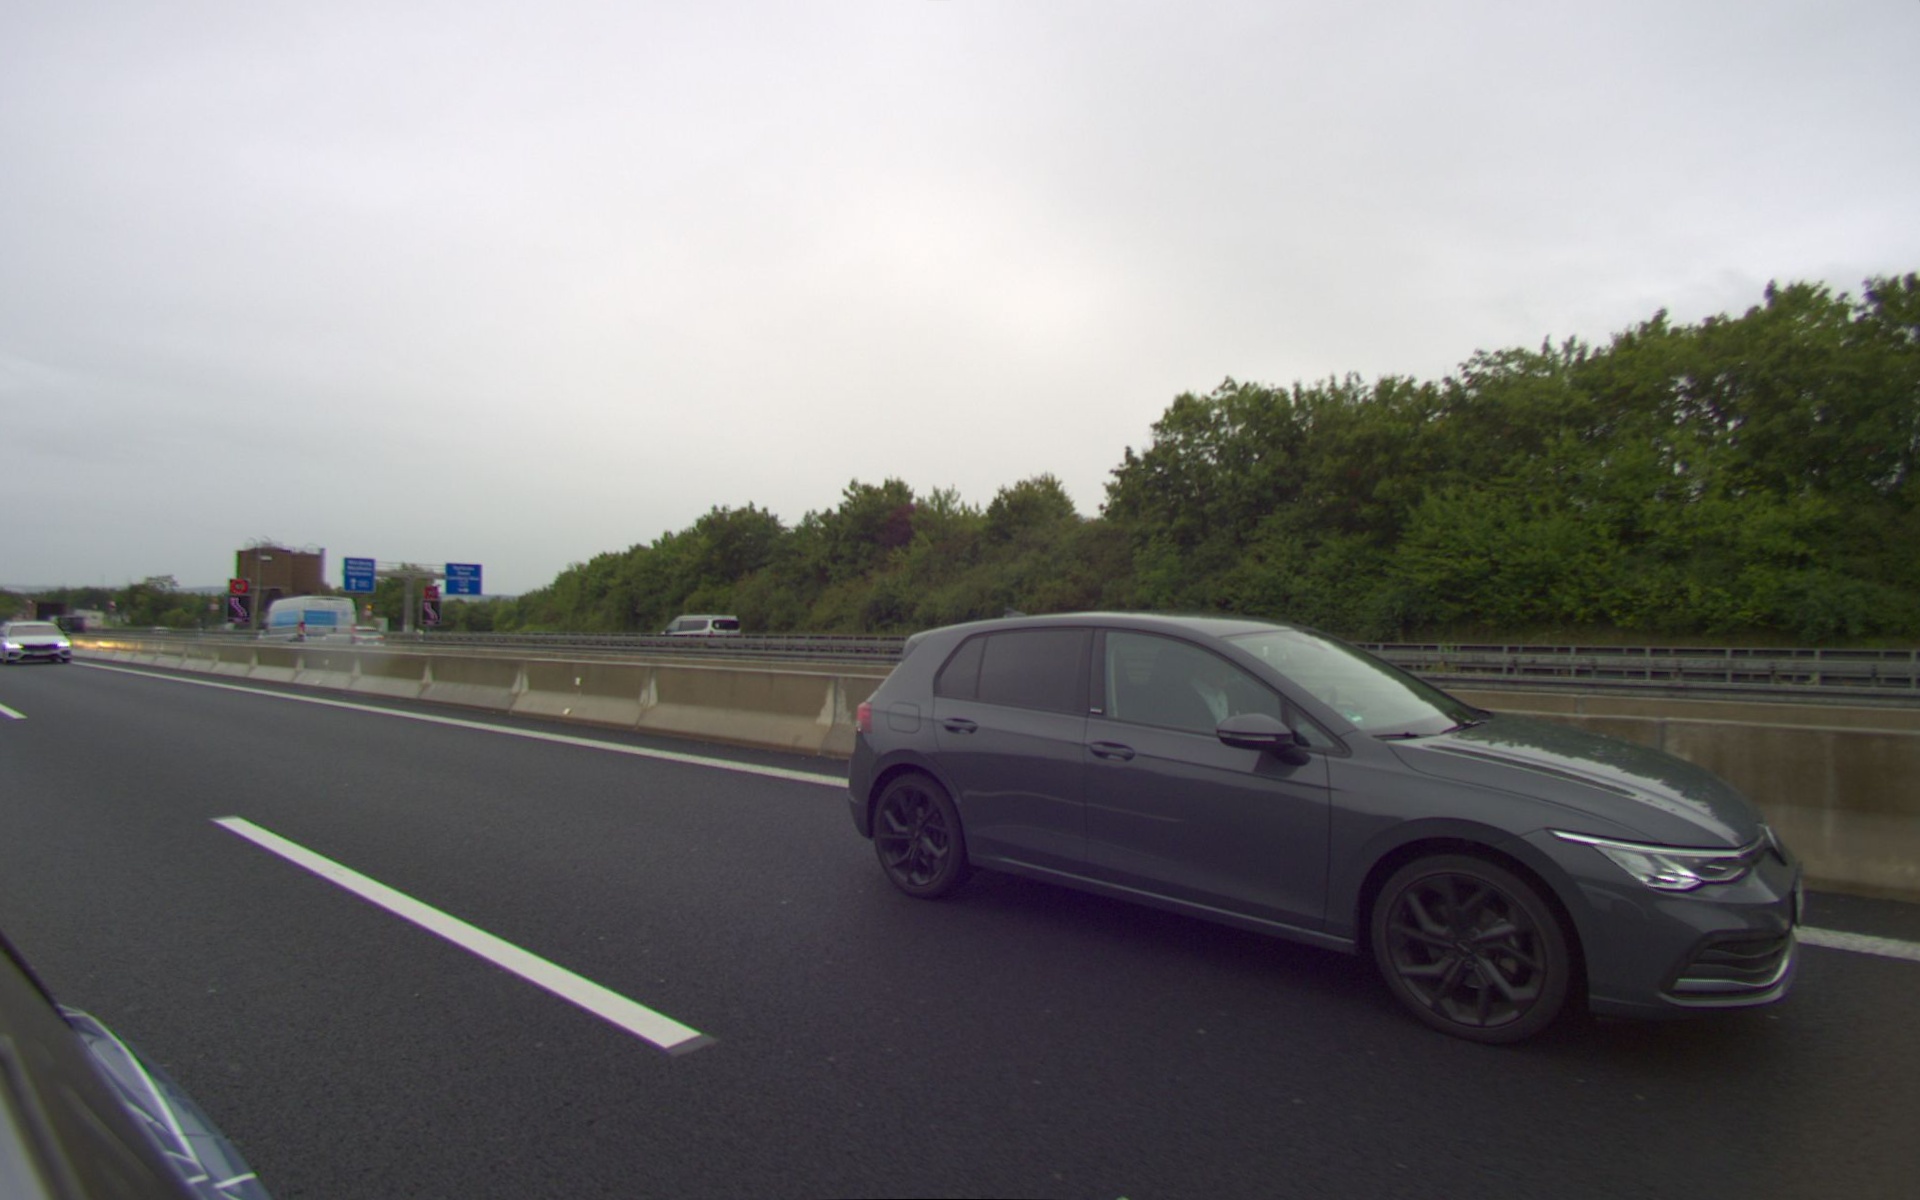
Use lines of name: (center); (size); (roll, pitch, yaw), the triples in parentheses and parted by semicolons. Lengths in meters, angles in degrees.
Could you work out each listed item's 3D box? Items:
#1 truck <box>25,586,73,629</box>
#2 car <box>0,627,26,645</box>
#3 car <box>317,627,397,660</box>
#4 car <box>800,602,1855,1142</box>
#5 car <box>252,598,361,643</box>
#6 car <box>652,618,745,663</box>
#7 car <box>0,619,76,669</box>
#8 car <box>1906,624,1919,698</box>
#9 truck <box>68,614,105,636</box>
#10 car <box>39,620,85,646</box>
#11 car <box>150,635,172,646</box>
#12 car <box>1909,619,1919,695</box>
truck: (-105.755, 0.948, 117.374); (10.487, 4.769, 3.362); (-2, -1, 44)
car: (-98.105, 3.742, 104.318); (4.958, 1.779, 2.133); (-2, -2, 41)
car: (-29.087, 2.062, 48.737); (4.677, 1.446, 1.973); (-2, 0, 41)
car: (1.341, 0.763, 4.848); (4.366, 1.436, 1.811); (-1, -1, 42)
car: (-26.694, 0.863, 41.233); (5.906, 1.706, 2.332); (-1, -2, 43)
car: (-12.561, 1.880, 48.520); (4.712, 2.029, 1.973); (-1, -1, 40)
car: (-33.027, 1.524, 35.997); (4.817, 1.603, 1.971); (-1, -1, 44)
car: (20.698, 1.149, 18.651); (4.675, 1.417, 1.972); (-1, -2, 42)
truck: (-162.850, 4.717, 188.569); (17.131, 3.837, 3.144); (-2, -1, 42)
car: (-68.018, 2.522, 76.650); (4.676, 1.850, 1.973); (-2, 0, 40)
car: (-101.509, 5.152, 128.575); (3.999, 1.409, 1.506); (-1, -1, 42)
car: (27.704, 1.503, 26.573); (3.999, 2.029, 1.731); (-1, -2, 42)
